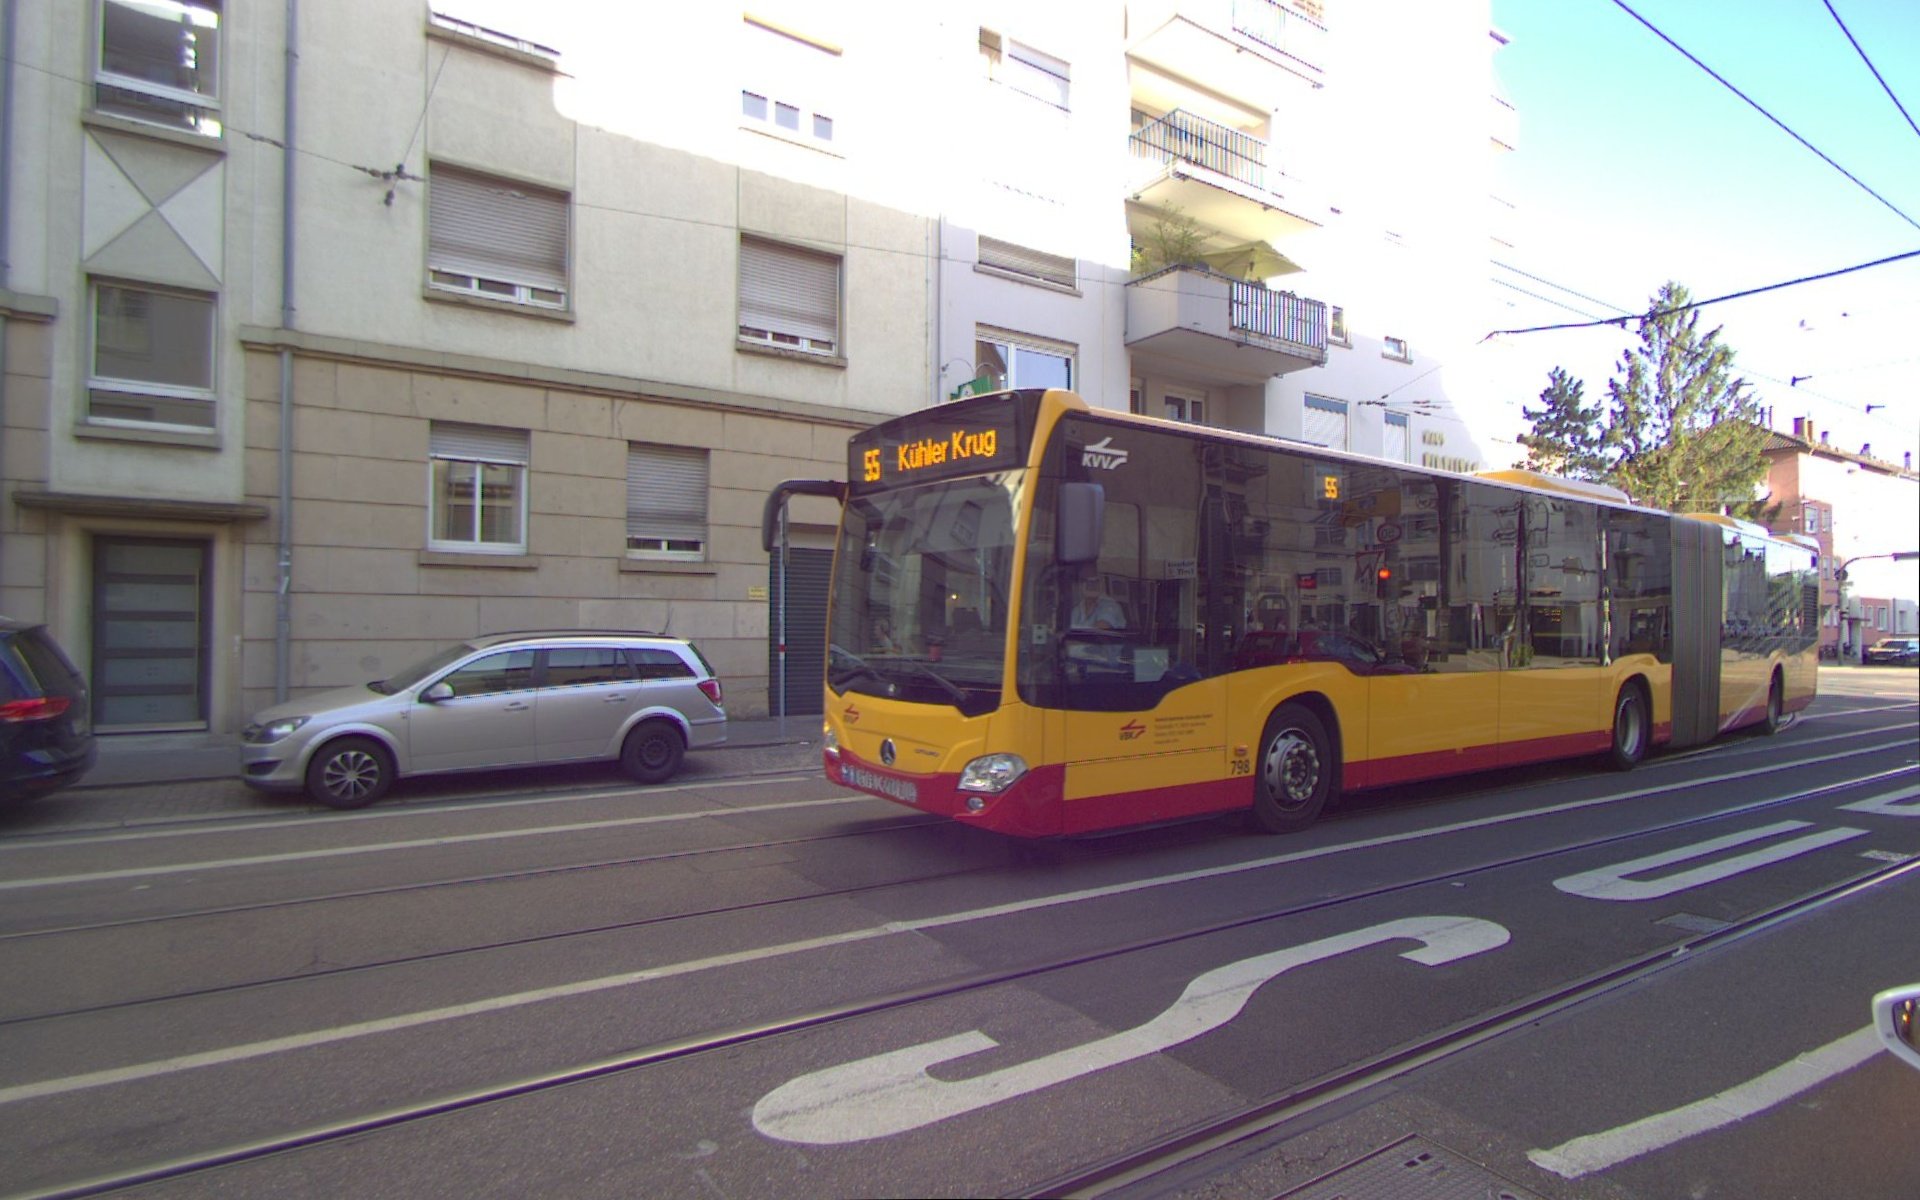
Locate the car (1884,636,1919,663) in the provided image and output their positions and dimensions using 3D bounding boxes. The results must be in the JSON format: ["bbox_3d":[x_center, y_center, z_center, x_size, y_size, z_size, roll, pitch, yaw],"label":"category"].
[{"bbox_3d":[54.242,2.782,56.939,3.959,1.517,1.899,1,-2,-34],"label":"car"}]

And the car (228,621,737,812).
[{"bbox_3d":[-4.647,1.039,10.179,4.340,1.529,1.689,2,-1,-34],"label":"car"}]

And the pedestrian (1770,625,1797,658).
[{"bbox_3d":[43.143,2.153,52.634,0.728,1.713,0.841,1,-1,-27],"label":"pedestrian"}]

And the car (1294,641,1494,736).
[{"bbox_3d":[8.313,1.592,19.133,3.961,1.530,1.732,1,0,-36],"label":"car"}]

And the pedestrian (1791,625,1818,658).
[{"bbox_3d":[43.650,2.148,51.918,0.728,1.713,0.841,1,-1,-27],"label":"pedestrian"}]

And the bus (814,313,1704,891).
[{"bbox_3d":[3.715,0.134,9.667,10.099,3.200,2.703,1,-2,-37],"label":"bus"}]

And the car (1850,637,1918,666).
[{"bbox_3d":[49.506,2.719,53.813,3.961,1.452,1.898,1,-2,-36],"label":"car"}]

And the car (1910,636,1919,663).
[{"bbox_3d":[58.071,2.923,59.452,3.959,1.517,1.899,1,-2,-34],"label":"car"}]

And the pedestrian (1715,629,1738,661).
[{"bbox_3d":[39.360,2.320,51.573,0.835,1.647,0.515,-1,-1,26],"label":"pedestrian"}]

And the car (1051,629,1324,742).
[{"bbox_3d":[3.642,1.272,15.828,4.266,1.529,1.689,2,-1,-33],"label":"car"}]

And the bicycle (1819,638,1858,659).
[{"bbox_3d":[51.913,2.860,59.350,3.267,1.241,0.844,1,-2,-32],"label":"bicycle"}]

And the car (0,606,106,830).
[{"bbox_3d":[-8.965,0.835,7.151,4.202,1.637,1.688,2,-1,-36],"label":"car"}]

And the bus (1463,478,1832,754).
[{"bbox_3d":[10.622,0.297,15.157,7.517,3.203,2.715,2,-2,-40],"label":"bus"}]

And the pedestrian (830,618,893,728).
[{"bbox_3d":[-1.460,1.058,14.849,0.713,1.569,0.694,0,-1,-30],"label":"pedestrian"}]

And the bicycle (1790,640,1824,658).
[{"bbox_3d":[47.138,2.742,55.900,2.568,0.964,0.729,1,-2,-32],"label":"bicycle"}]
